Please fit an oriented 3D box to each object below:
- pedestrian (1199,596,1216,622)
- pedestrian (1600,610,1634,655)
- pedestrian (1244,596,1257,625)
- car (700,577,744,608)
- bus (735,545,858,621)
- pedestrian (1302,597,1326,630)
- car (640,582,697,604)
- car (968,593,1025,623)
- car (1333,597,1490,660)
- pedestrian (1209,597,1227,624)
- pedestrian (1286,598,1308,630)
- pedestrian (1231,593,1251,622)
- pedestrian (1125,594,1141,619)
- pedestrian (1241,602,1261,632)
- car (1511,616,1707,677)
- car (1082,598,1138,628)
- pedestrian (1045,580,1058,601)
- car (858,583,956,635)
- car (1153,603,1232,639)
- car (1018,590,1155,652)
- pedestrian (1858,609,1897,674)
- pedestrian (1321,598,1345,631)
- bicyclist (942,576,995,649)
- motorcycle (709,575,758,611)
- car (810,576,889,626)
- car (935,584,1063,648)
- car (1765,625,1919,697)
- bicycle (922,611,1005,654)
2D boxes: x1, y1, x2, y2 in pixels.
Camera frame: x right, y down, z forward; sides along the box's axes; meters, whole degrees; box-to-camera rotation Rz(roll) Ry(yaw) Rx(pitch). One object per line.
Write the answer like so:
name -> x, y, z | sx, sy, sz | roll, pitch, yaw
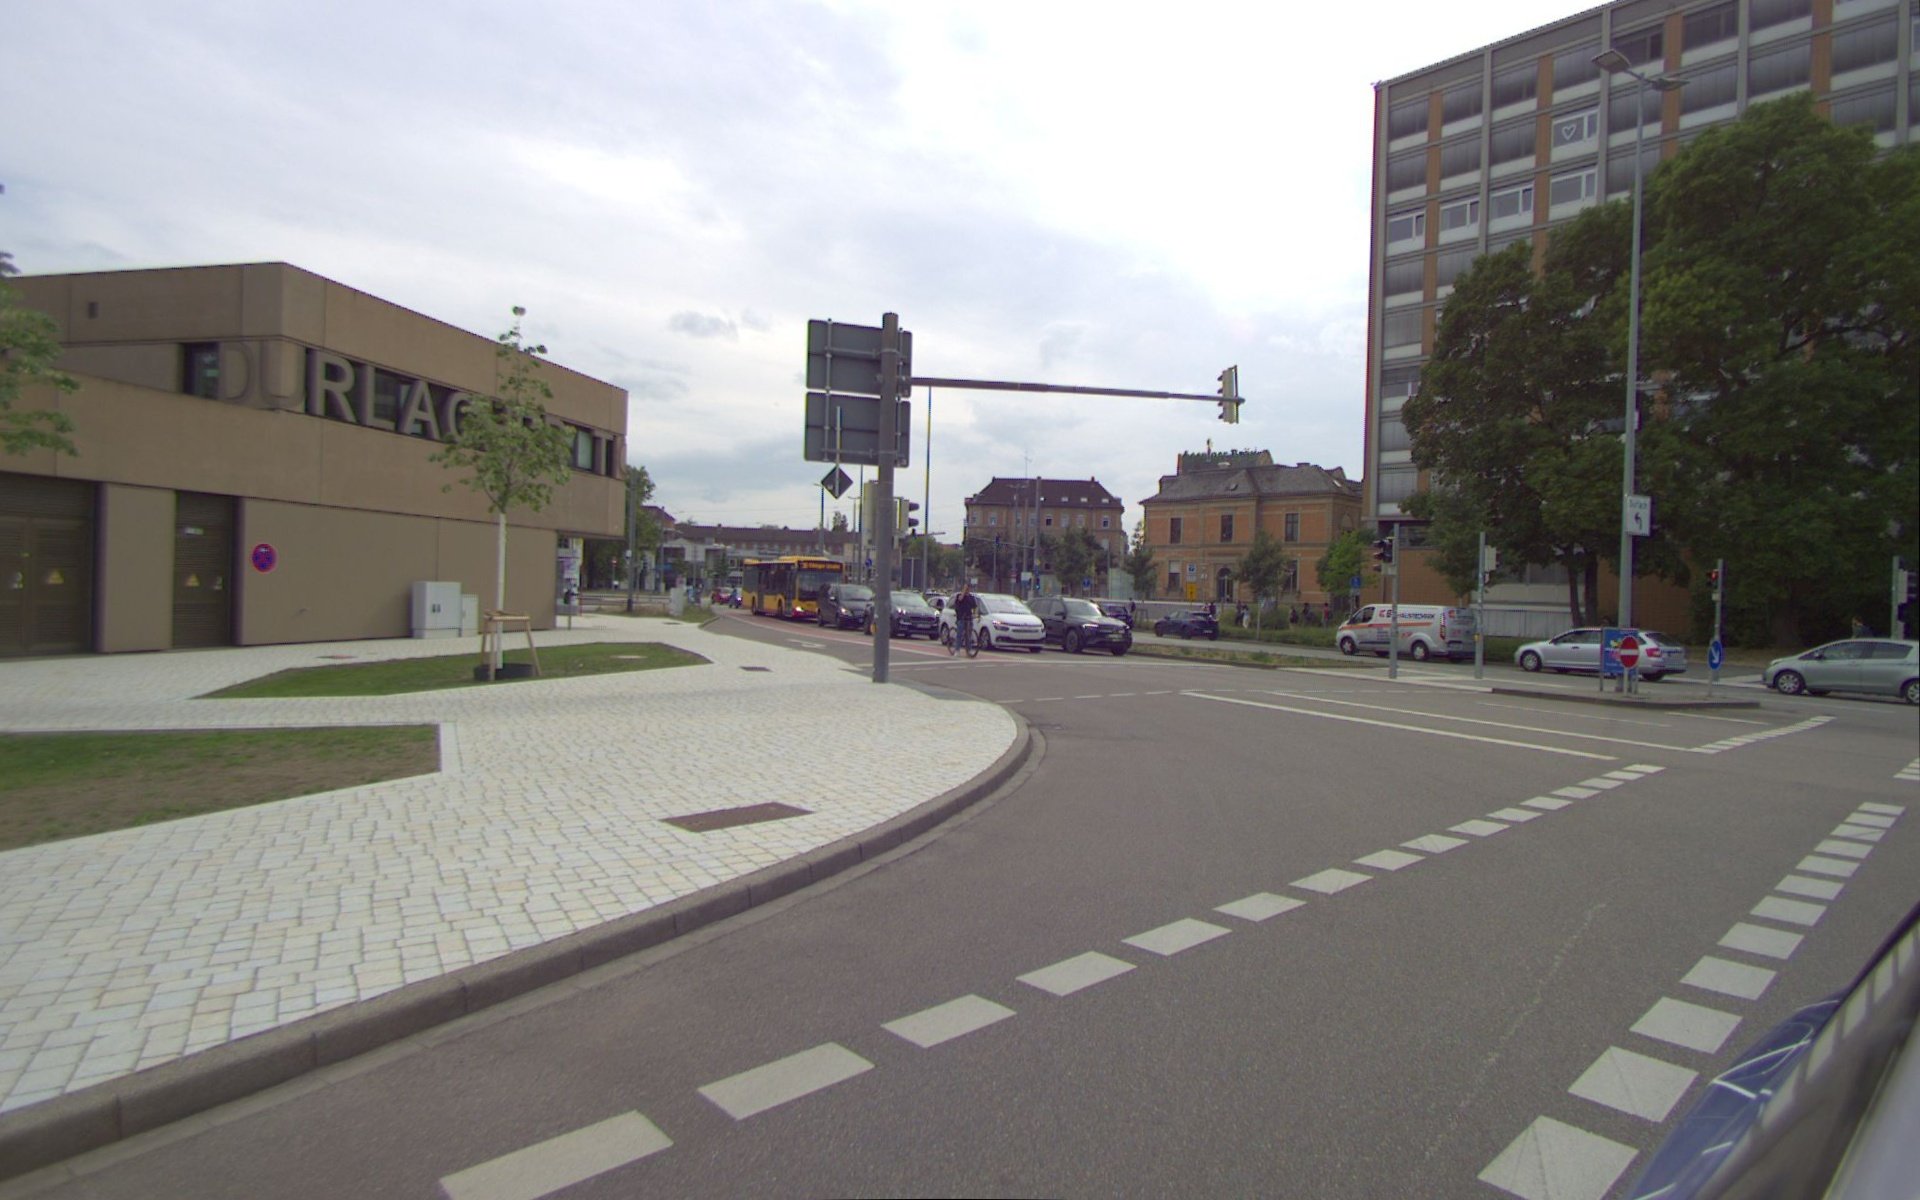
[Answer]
pedestrian -> 15.573, 0.542, 63.637 | 0.764, 1.593, 0.814 | 0, 1, -13
pedestrian -> 23.823, 1.169, 36.702 | 0.766, 1.593, 0.812 | 0, 1, -36
pedestrian -> 16.018, 0.575, 55.768 | 0.546, 1.556, 0.543 | 1, 1, 31
car -> -16.262, -0.512, 69.031 | 1.958, 1.923, 4.298 | 3, -1, -25
bus -> -8.715, -0.833, 52.085 | 3.092, 3.296, 12.436 | 3, -1, -23
pedestrian -> 17.389, 0.658, 49.691 | 0.764, 1.593, 0.814 | 0, 1, -17
car -> -23.775, -0.561, 82.494 | 3.956, 1.594, 1.997 | 4, -1, -41
car -> 1.956, 0.416, 55.524 | 1.723, 1.476, 4.232 | 3, -1, -18
car -> 16.096, 0.968, 36.416 | 1.787, 1.984, 5.214 | 3, -1, -25
pedestrian -> 15.360, 0.628, 60.203 | 0.764, 1.593, 0.814 | 0, 1, -13
pedestrian -> 17.377, 0.706, 52.183 | 0.764, 1.593, 0.814 | 0, 1, -13
pedestrian -> 15.830, 0.406, 56.993 | 0.764, 1.593, 0.814 | 0, 1, -13
pedestrian -> 11.106, 0.417, 64.954 | 0.764, 1.593, 0.814 | 0, 1, -13
pedestrian -> 16.003, 0.925, 55.666 | 0.764, 1.593, 0.814 | 0, 1, -13
car -> 18.967, 1.324, 29.800 | 1.788, 1.493, 4.535 | 3, -1, -27
car -> 8.497, 0.716, 57.617 | 1.636, 1.527, 3.642 | 3, -1, -17
pedestrian -> 6.941, -0.693, 77.169 | 0.764, 1.593, 0.814 | 0, 1, -13
car -> -1.972, 0.288, 36.227 | 1.958, 1.672, 4.298 | 3, -1, -25
car -> 11.307, 1.002, 49.383 | 1.824, 1.552, 4.010 | 3, -1, -20
car -> 3.718, 0.582, 30.596 | 1.958, 1.672, 4.520 | 3, -1, -25
pedestrian -> 27.026, 1.213, 29.820 | 0.628, 1.876, 0.708 | 1, 0, -36
pedestrian -> 18.512, 0.722, 50.265 | 0.764, 1.593, 0.814 | 0, 1, -17
bicyclist -> 0.199, 0.290, 24.296 | 0.852, 1.690, 0.882 | 3, -1, -30
motorcycle -> -13.913, -0.429, 62.046 | 1.959, 2.039, 4.006 | 3, -1, -27
car -> -4.689, 0.026, 42.325 | 1.958, 1.923, 4.298 | 3, -1, -25
car -> 1.047, 0.436, 29.805 | 1.958, 1.672, 4.298 | 3, -1, -25
car -> 21.878, 1.447, 24.098 | 1.637, 1.508, 3.881 | 3, -1, -27
bicycle -> 0.047, 0.770, 24.520 | 0.847, 0.888, 2.522 | 3, -1, -29
